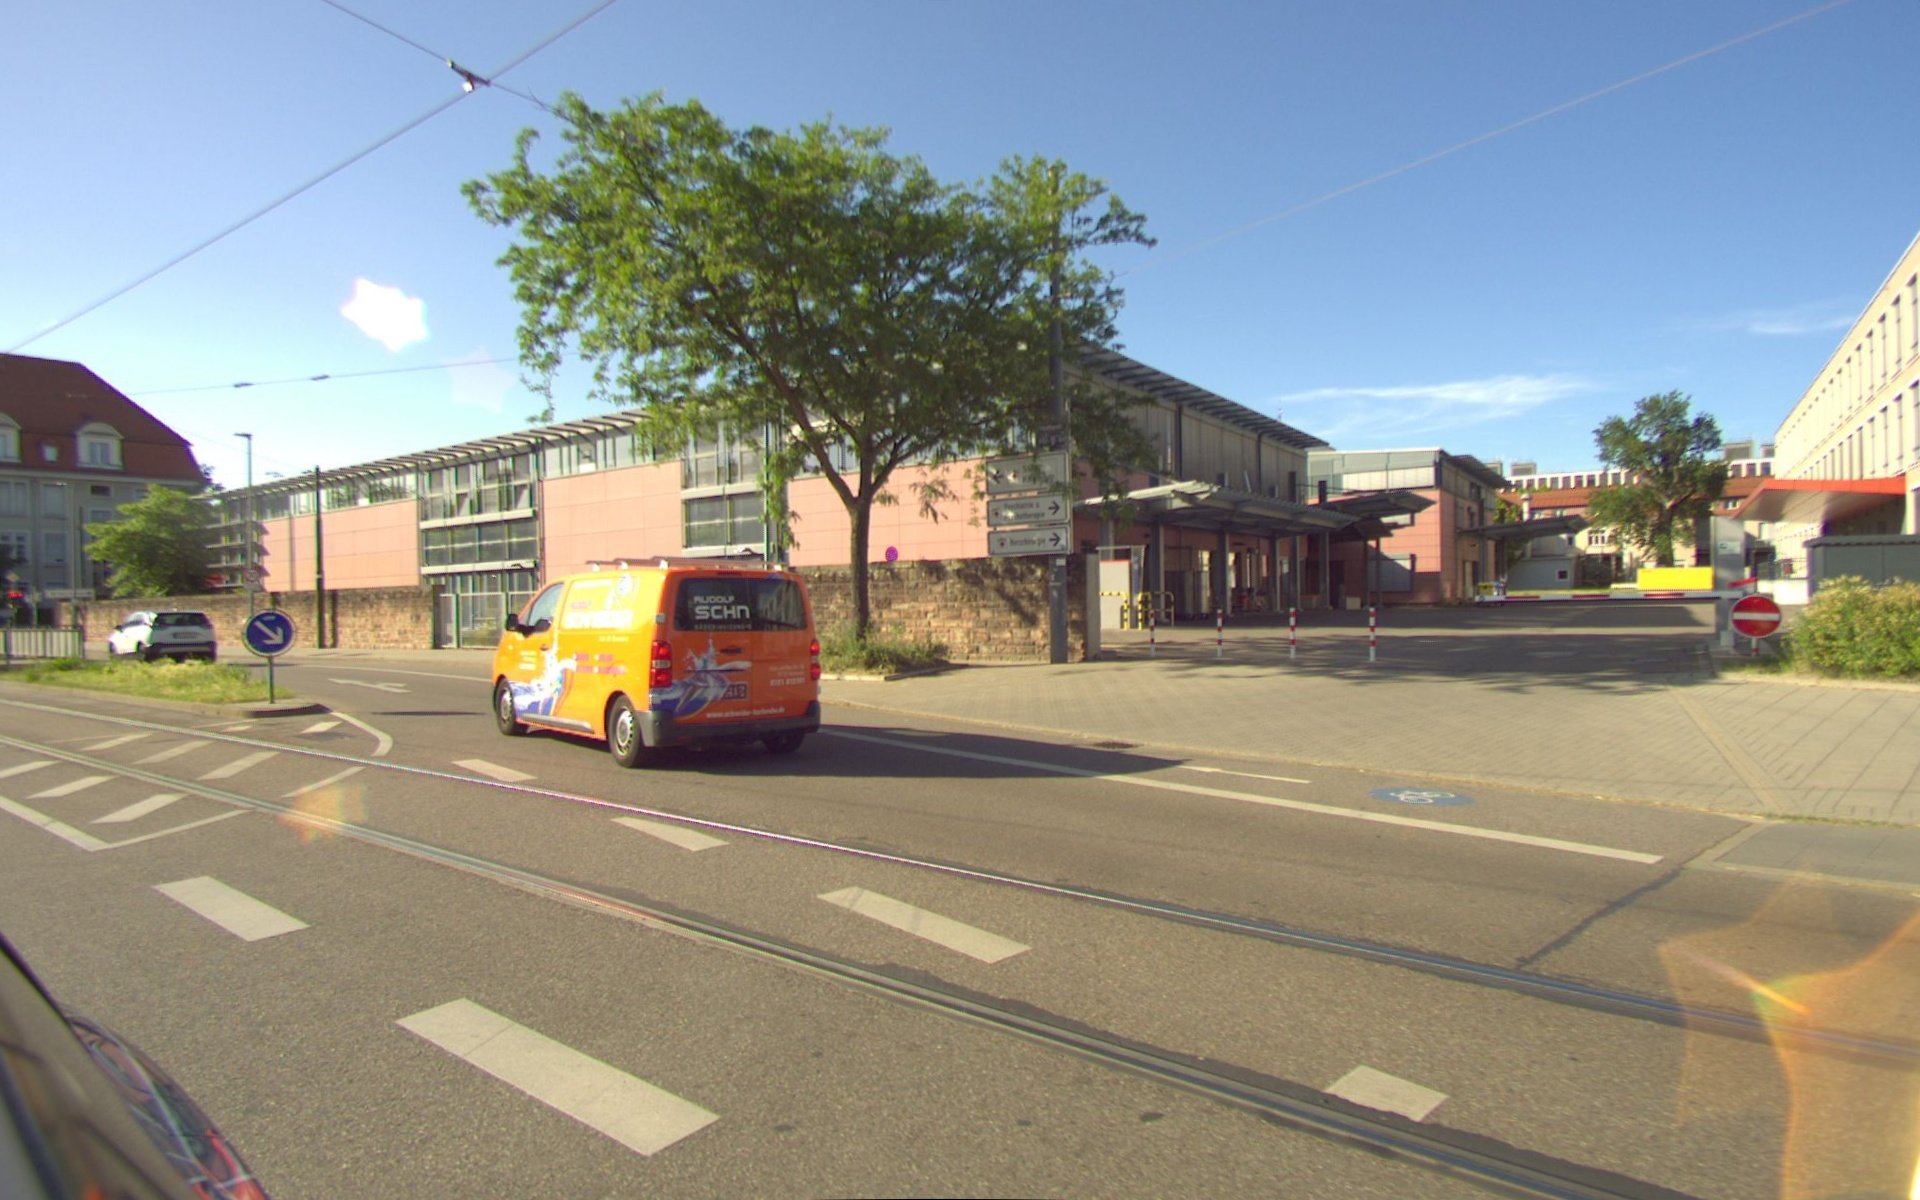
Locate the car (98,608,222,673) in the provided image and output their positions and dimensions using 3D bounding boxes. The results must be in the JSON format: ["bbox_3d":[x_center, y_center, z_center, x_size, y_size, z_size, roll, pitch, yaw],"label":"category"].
[{"bbox_3d":[-22.794,1.116,28.789,4.202,1.676,1.748,-1,0,37],"label":"car"}]

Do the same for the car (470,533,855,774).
[{"bbox_3d":[-3.394,0.458,10.808,1.969,1.980,4.939,-1,0,-42],"label":"car"}]

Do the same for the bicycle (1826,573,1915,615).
[{"bbox_3d":[23.990,-0.142,26.701,1.683,1.069,0.456,-1,0,35],"label":"bicycle"}]

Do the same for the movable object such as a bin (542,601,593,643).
[{"bbox_3d":[-12.282,0.685,31.673,1.306,1.295,0.874,-1,0,34],"label":"movable object such as a bin"}]

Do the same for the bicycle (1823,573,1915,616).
[{"bbox_3d":[23.466,-0.129,26.156,1.695,1.069,0.456,-1,0,32],"label":"bicycle"}]

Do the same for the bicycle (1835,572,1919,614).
[{"bbox_3d":[24.737,-0.177,27.268,1.682,1.069,0.456,-2,1,34],"label":"bicycle"}]
